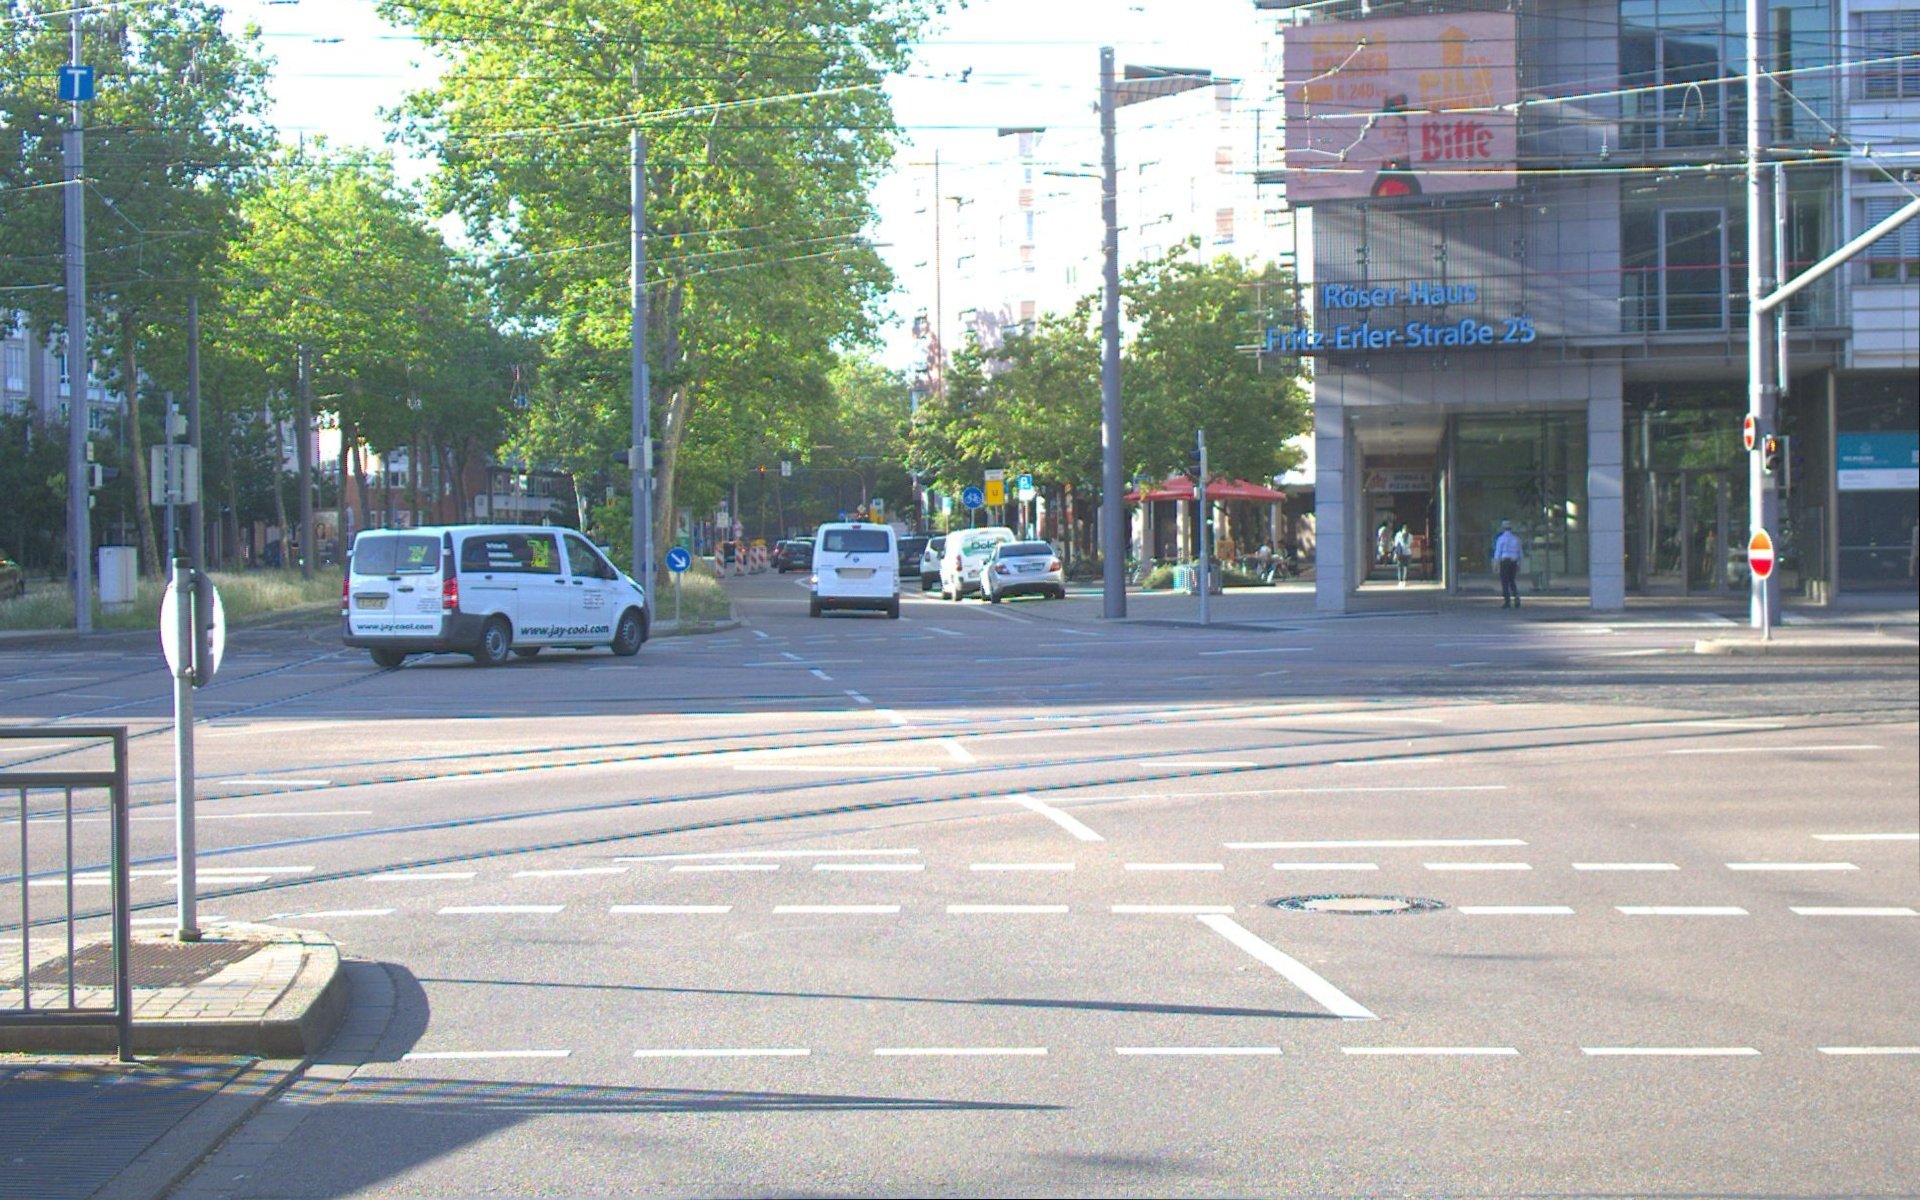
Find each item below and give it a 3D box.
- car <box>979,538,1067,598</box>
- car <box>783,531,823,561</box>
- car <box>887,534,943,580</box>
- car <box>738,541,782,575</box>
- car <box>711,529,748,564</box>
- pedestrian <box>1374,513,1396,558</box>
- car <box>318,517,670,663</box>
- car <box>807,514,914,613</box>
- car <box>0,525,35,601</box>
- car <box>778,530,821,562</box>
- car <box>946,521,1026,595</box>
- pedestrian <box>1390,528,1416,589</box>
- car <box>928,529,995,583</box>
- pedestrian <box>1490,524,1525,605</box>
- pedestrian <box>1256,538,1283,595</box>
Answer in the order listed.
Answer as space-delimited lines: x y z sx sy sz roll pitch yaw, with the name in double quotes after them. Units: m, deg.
1.492 -0.788 82.779 1.993 1.371 4.000 -1 1 -1 "car"
-7.665 -2.650 168.239 1.797 1.437 4.000 -1 1 -1 "car"
-1.642 -1.600 126.670 1.993 1.612 4.000 -1 1 0 "car"
-8.545 -1.788 147.032 1.797 1.437 4.000 1 1 -2 "car"
-13.766 -3.218 205.645 1.993 2.007 4.000 -1 1 -1 "car"
16.378 -2.490 132.629 0.744 1.708 0.612 -1 1 -1 "pedestrian"
-6.208 -0.180 46.516 1.964 1.842 5.322 0 1 28 "car"
-1.921 -0.737 67.711 1.756 1.860 4.525 -1 1 2 "car"
-21.666 -0.801 74.928 1.993 1.634 4.000 -1 1 -1 "car"
-7.318 -2.470 156.754 1.797 1.437 4.000 -1 1 -1 "car"
0.648 -1.098 89.574 1.993 1.853 4.000 -1 1 -1 "car"
10.902 -1.023 84.683 0.612 1.502 0.579 -1 1 7 "pedestrian"
0.036 -1.361 105.220 1.993 1.612 4.000 -1 1 0 "car"
10.260 -0.676 64.444 0.612 1.502 0.579 -1 1 7 "pedestrian"
9.457 -1.021 104.993 0.744 1.708 0.612 -1 1 -1 "pedestrian"
